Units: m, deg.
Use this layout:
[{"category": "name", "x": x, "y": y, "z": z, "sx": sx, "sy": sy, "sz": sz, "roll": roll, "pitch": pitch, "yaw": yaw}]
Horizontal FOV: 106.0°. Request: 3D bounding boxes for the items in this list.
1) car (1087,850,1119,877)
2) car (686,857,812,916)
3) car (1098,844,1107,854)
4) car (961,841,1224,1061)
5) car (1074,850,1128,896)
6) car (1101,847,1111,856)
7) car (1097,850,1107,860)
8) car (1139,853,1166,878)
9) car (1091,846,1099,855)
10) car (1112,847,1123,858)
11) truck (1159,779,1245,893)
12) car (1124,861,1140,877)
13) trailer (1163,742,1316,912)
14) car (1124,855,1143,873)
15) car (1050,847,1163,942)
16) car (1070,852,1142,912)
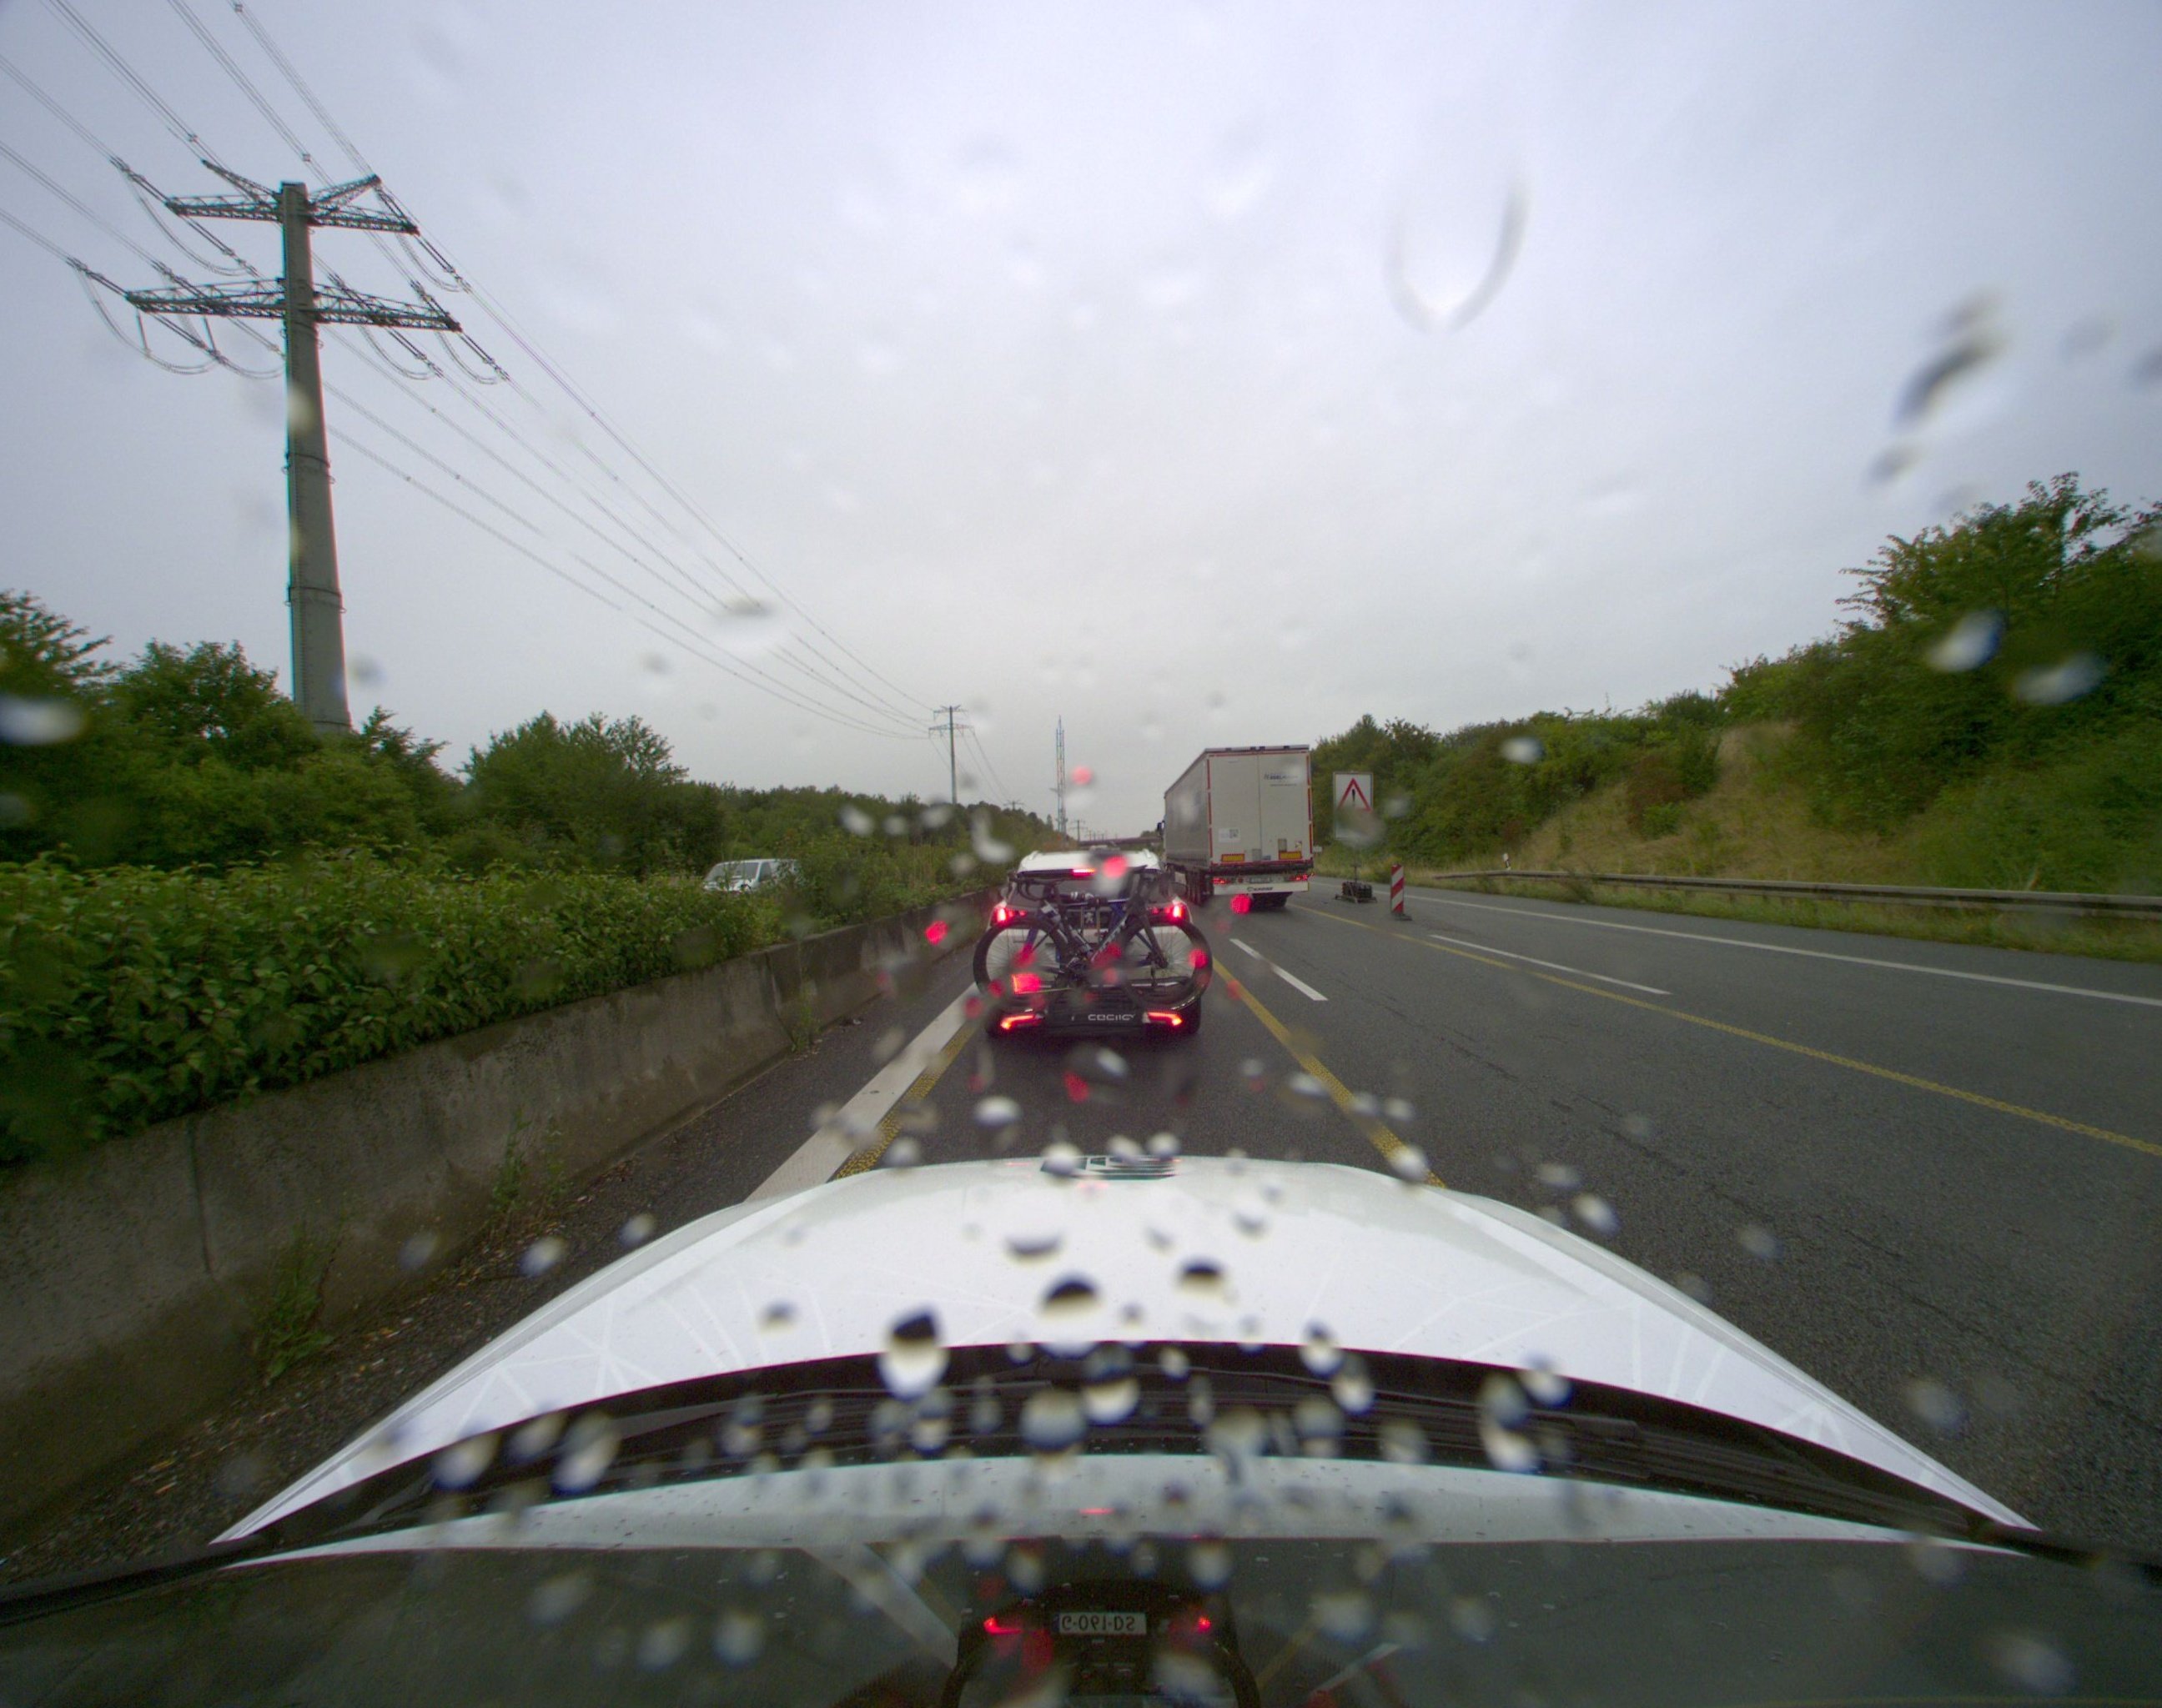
[{"category": "car", "x": 1.379, "y": 0.539, "z": 49.601, "sx": 1.843, "sy": 1.531, "sz": 4.002, "roll": -1, "pitch": 0, "yaw": 2}, {"category": "car", "x": -10.901, "y": 0.984, "z": 27.230, "sx": 1.986, "sy": 1.726, "sz": 5.061, "roll": -1, "pitch": 0, "yaw": 2}, {"category": "car", "x": 4.784, "y": -1.154, "z": 183.352, "sx": 1.924, "sy": 1.973, "sz": 4.002, "roll": -1, "pitch": 1, "yaw": 2}, {"category": "car", "x": 0.158, "y": 0.686, "z": 8.165, "sx": 1.843, "sy": 1.531, "sz": 4.770, "roll": -1, "pitch": 0, "yaw": 2}, {"category": "car", "x": 0.763, "y": 0.654, "z": 30.068, "sx": 1.843, "sy": 1.531, "sz": 4.002, "roll": -1, "pitch": 0, "yaw": 2}, {"category": "car", "x": 5.266, "y": -0.578, "z": 170.985, "sx": 1.924, "sy": 1.910, "sz": 4.002, "roll": -1, "pitch": 1, "yaw": 2}, {"category": "car", "x": 4.603, "y": 0.143, "z": 177.924, "sx": 1.924, "sy": 1.973, "sz": 4.002, "roll": -1, "pitch": 1, "yaw": 2}, {"category": "car", "x": 6.195, "y": 0.976, "z": 70.604, "sx": 2.102, "sy": 1.973, "sz": 4.002, "roll": -1, "pitch": 1, "yaw": 2}, {"category": "car", "x": 3.788, "y": -1.001, "z": 218.213, "sx": 2.249, "sy": 2.424, "sz": 4.002, "roll": -1, "pitch": 1, "yaw": 2}, {"category": "car", "x": 6.640, "y": -0.307, "z": 150.306, "sx": 1.924, "sy": 1.973, "sz": 4.002, "roll": -1, "pitch": 1, "yaw": 2}, {"category": "truck", "x": 4.703, "y": -0.652, "z": 32.903, "sx": 2.650, "sy": 4.076, "sz": 6.542, "roll": -1, "pitch": 0, "yaw": 2}, {"category": "car", "x": 7.188, "y": 2.119, "z": 115.025, "sx": 2.140, "sy": 1.973, "sz": 4.002, "roll": -1, "pitch": 1, "yaw": 2}, {"category": "trailer", "x": 4.527, "y": -0.657, "z": 26.520, "sx": 2.682, "sy": 4.076, "sz": 13.639, "roll": -1, "pitch": 0, "yaw": 2}, {"category": "car", "x": 6.346, "y": 1.178, "z": 99.040, "sx": 2.140, "sy": 1.973, "sz": 4.002, "roll": -1, "pitch": 1, "yaw": 2}, {"category": "car", "x": 0.481, "y": 0.670, "z": 15.456, "sx": 1.843, "sy": 1.531, "sz": 4.002, "roll": -1, "pitch": 0, "yaw": 2}, {"category": "car", "x": 0.720, "y": 0.733, "z": 23.287, "sx": 1.843, "sy": 1.531, "sz": 4.002, "roll": -1, "pitch": 0, "yaw": 2}]
